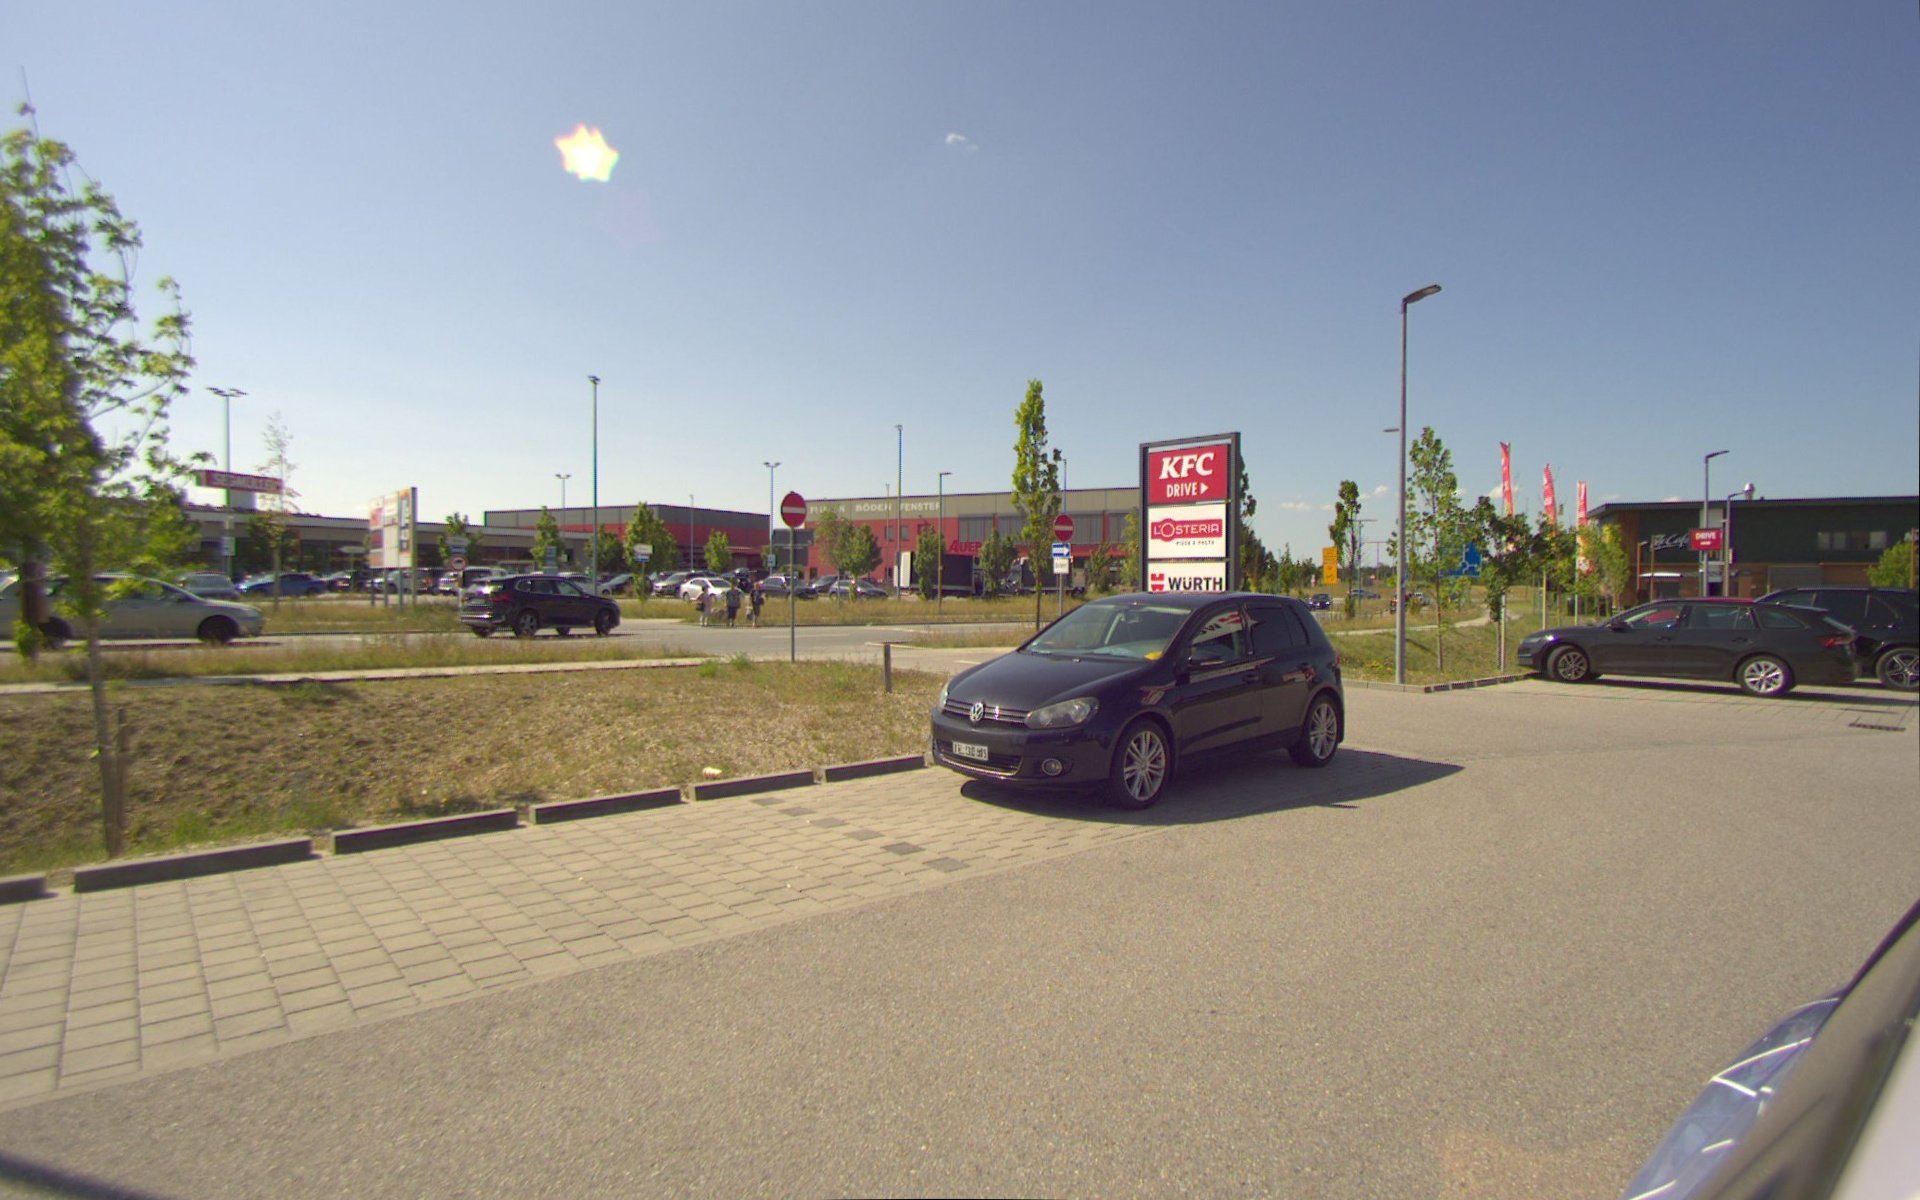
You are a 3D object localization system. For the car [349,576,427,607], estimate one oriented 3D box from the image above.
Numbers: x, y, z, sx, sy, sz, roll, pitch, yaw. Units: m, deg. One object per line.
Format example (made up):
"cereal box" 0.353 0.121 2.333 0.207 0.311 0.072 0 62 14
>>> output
"car" -39.848 -0.578 70.582 1.981 2.063 4.442 0 0 27

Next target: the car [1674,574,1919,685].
"car" 16.020 0.469 18.463 1.963 1.858 4.532 0 1 -36

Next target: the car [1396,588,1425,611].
"car" 33.263 -0.065 74.795 1.808 1.560 3.970 0 1 22

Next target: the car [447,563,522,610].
"car" -23.460 -0.645 50.132 1.960 2.214 4.489 0 0 -5

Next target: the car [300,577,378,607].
"car" -44.736 -0.574 72.949 1.981 2.063 4.442 0 0 27

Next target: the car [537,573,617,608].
"car" -23.507 -0.585 62.243 1.981 2.063 4.442 0 0 27

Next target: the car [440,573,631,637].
"car" -11.329 0.093 27.402 1.927 1.571 4.719 0 0 25

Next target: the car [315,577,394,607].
"car" -42.752 -0.572 71.590 1.981 2.063 4.442 0 0 27

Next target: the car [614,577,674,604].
"car" -24.552 -0.737 78.807 1.981 2.063 4.442 0 0 27

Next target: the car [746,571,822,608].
"car" -10.236 -0.623 58.834 4.463 2.063 1.971 0 0 40

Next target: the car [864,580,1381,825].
"car" 1.504 0.600 8.274 4.288 1.484 1.876 0 1 -41

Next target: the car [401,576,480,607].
"car" -35.131 -0.583 68.550 1.981 2.063 4.442 0 0 27

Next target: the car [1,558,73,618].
"car" -33.446 -0.452 36.654 1.851 2.039 4.261 0 1 -43

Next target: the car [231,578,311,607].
"car" -50.380 -0.555 74.058 1.981 2.063 4.442 0 0 27

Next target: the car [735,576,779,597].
"car" -20.359 -1.384 101.627 1.981 2.063 4.442 0 0 27

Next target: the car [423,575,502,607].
"car" -33.044 -0.583 67.374 1.981 2.063 4.442 0 0 27

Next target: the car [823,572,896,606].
"car" -6.259 -0.680 62.651 4.463 2.063 1.971 0 0 40

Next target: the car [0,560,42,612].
"car" -53.462 -0.757 55.334 1.981 2.857 4.442 0 0 27

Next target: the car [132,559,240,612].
"car" -43.464 -0.825 56.946 1.976 2.857 4.452 0 0 22

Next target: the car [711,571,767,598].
"car" -17.277 -1.188 79.379 1.981 2.063 4.442 0 0 27

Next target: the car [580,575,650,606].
"car" -23.452 -0.650 68.991 1.981 2.063 4.442 0 0 27

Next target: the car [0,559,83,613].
"car" -50.747 -0.767 54.860 1.981 2.857 4.442 0 0 27

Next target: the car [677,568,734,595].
"car" -20.171 -1.440 80.277 1.981 2.063 4.442 0 0 27

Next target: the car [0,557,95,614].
"car" -48.454 -0.761 52.962 1.981 2.857 4.442 0 0 27

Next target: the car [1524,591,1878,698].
"car" 12.084 0.613 16.697 4.519 1.477 1.969 1 1 44

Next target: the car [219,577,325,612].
"car" -36.374 -0.306 53.635 1.981 1.807 4.274 0 0 28

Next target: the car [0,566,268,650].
"car" -17.267 0.128 20.971 4.678 1.571 1.944 -1 0 -41

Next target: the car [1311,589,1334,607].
"car" 31.731 -0.188 88.564 1.805 1.561 3.976 0 0 19

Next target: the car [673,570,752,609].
"car" -13.518 -0.570 55.144 4.463 2.063 1.971 0 0 40
